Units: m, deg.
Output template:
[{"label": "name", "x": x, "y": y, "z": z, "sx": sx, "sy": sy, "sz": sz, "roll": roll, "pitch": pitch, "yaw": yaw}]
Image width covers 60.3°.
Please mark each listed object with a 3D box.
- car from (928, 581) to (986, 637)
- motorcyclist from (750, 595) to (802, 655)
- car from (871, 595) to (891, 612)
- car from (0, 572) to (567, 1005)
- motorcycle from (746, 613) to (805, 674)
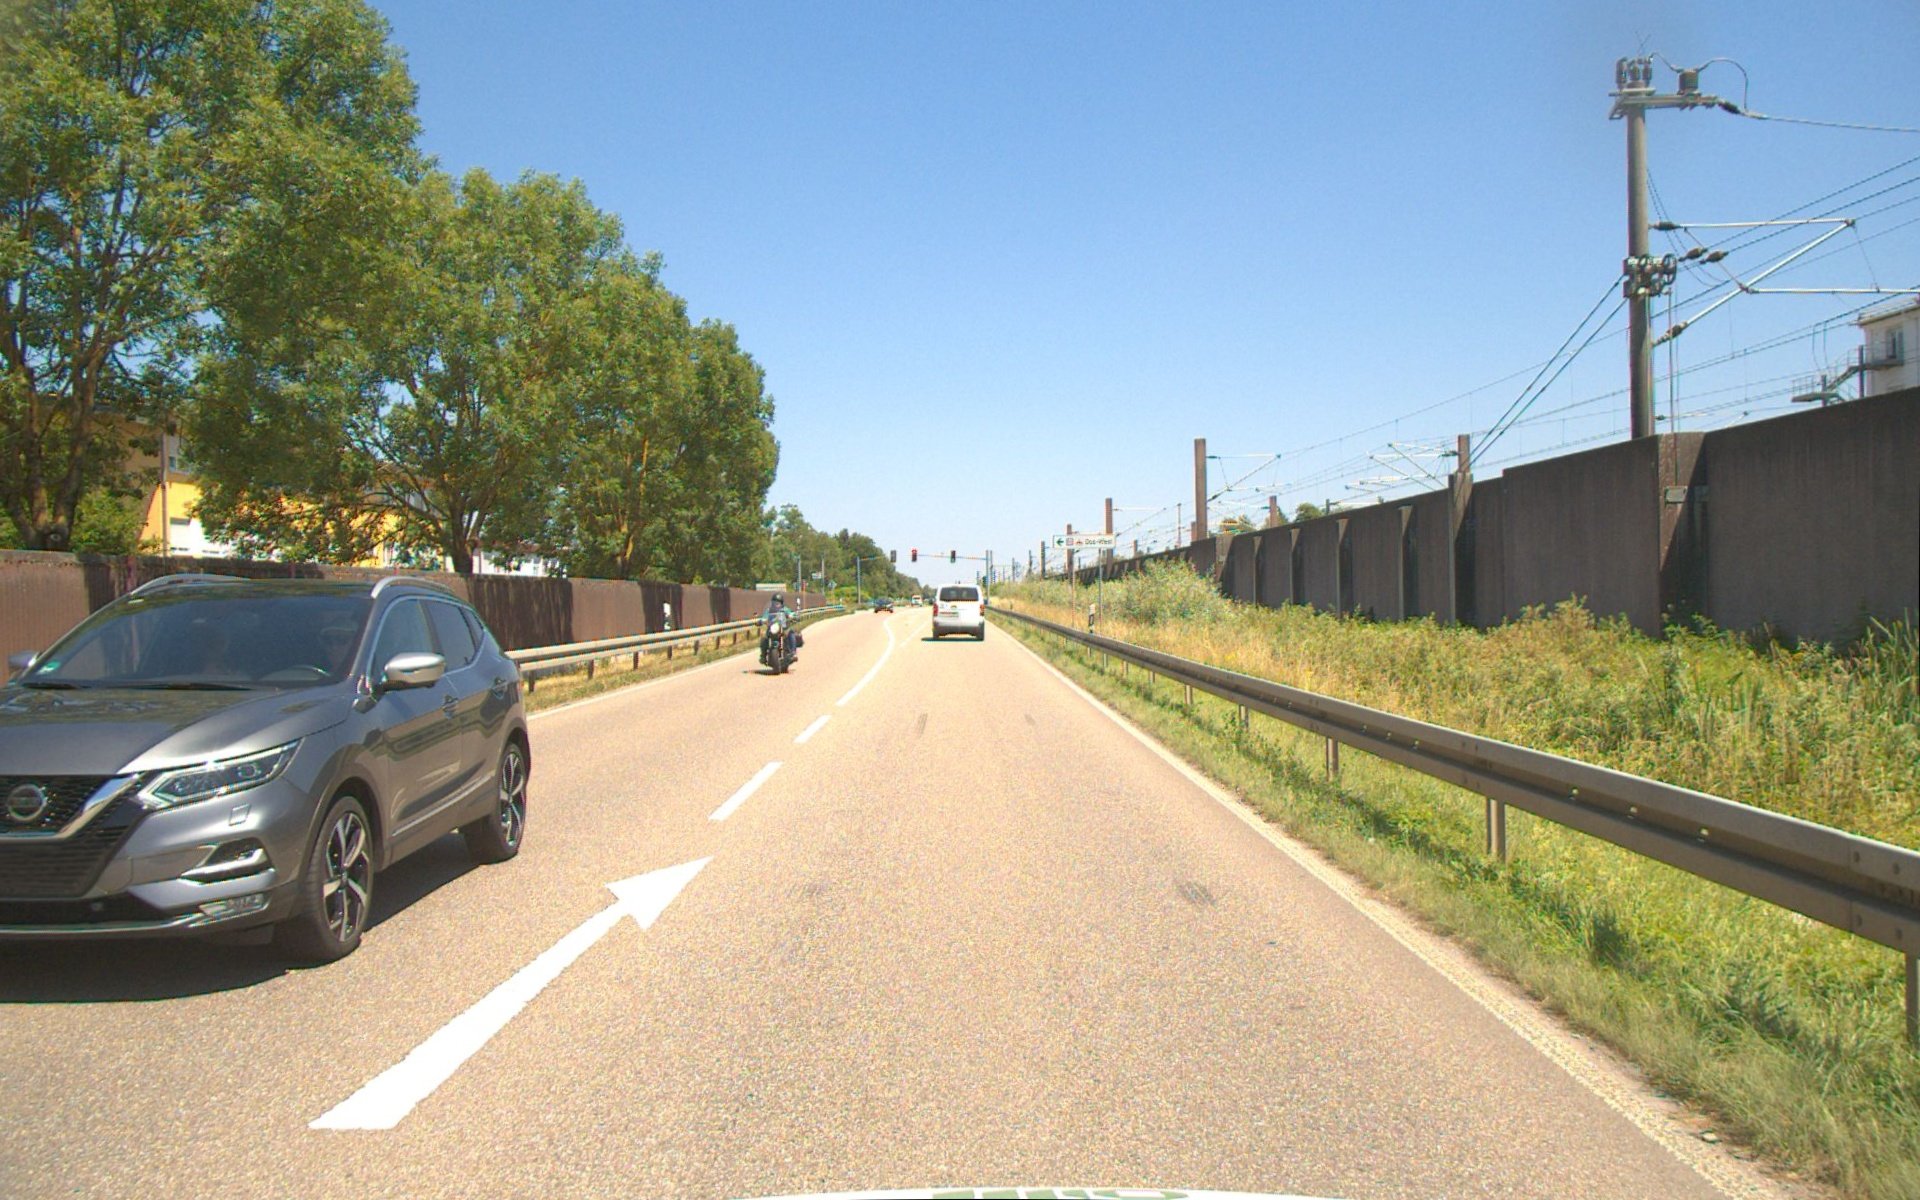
[{"label": "car", "x": -0.106, "y": 0.286, "z": 58.610, "sx": 1.953, "sy": 1.882, "sz": 4.000, "roll": 1, "pitch": 0, "yaw": 0}, {"label": "motorcyclist", "x": -3.690, "y": 0.492, "z": 33.217, "sx": 0.918, "sy": 1.150, "sz": 0.927, "roll": 2, "pitch": 0, "yaw": -1}, {"label": "car", "x": -7.627, "y": 0.332, "z": 159.758, "sx": 1.783, "sy": 1.624, "sz": 3.999, "roll": 1, "pitch": 0, "yaw": -2}, {"label": "car", "x": -3.297, "y": 0.668, "z": 8.133, "sx": 1.753, "sy": 1.552, "sz": 4.389, "roll": 0, "pitch": 0, "yaw": -1}, {"label": "motorcycle", "x": -3.690, "y": 0.847, "z": 33.250, "sx": 0.934, "sy": 1.127, "sz": 2.335, "roll": 1, "pitch": 0, "yaw": -1}]
